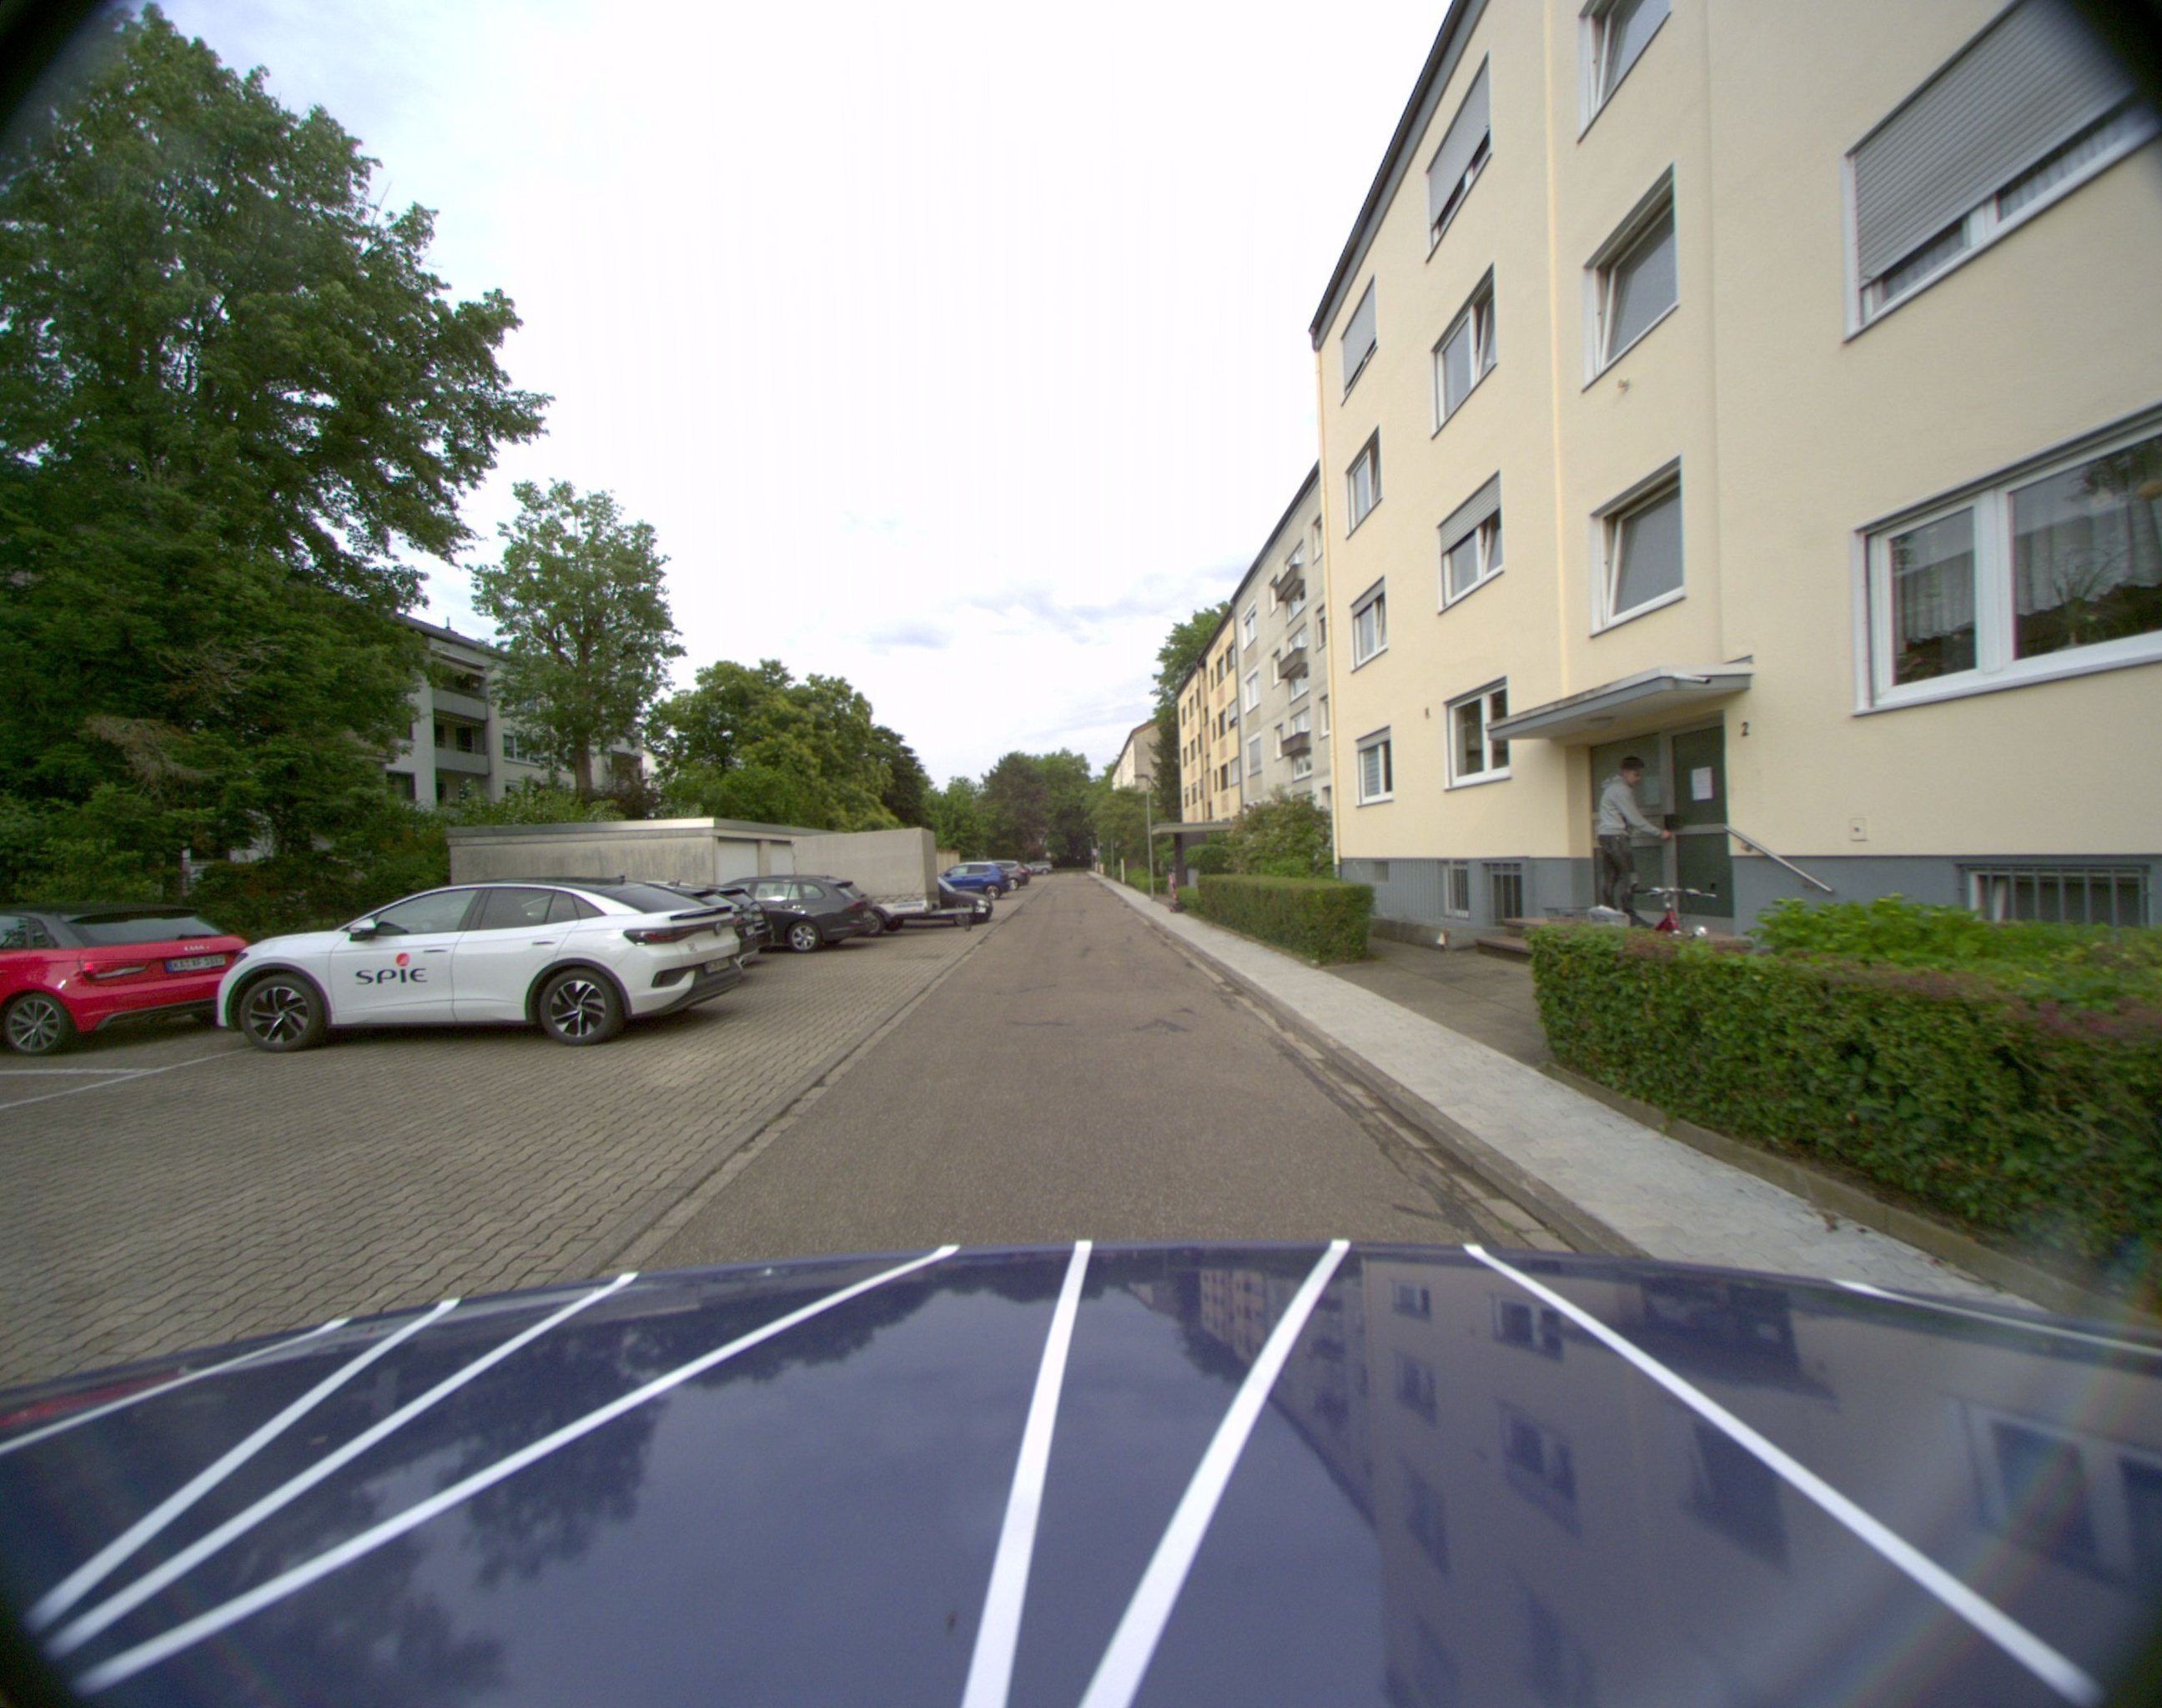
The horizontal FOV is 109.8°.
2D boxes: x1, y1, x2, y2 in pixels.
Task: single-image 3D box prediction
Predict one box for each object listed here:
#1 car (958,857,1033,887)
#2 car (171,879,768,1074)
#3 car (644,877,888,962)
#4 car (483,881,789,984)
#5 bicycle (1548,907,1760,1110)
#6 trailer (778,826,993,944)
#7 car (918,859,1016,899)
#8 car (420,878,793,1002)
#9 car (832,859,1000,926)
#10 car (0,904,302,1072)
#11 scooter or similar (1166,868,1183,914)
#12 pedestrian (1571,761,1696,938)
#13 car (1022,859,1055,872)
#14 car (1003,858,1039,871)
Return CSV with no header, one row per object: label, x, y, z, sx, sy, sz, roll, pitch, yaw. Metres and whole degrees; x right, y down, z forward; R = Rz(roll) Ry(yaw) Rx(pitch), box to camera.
car,-4.967,1.072,44.776,4.206,1.717,2.000,0,0,-1
car,-5.949,1.149,7.860,4.548,1.579,1.988,-2,0,1
car,-6.135,1.255,15.117,4.138,1.440,1.612,-2,0,-1
car,-7.316,1.265,12.806,4.005,1.440,1.915,-2,0,2
bicycle,3.769,0.949,5.130,0.319,1.069,1.418,-3,1,0
trailer,-4.601,0.715,18.441,4.621,2.510,1.942,-2,0,0
car,-4.936,1.066,33.262,3.997,1.693,2.000,0,0,-1
car,-6.445,1.128,10.701,3.997,1.543,2.000,0,0,1
car,-4.523,1.041,21.358,4.322,1.791,2.000,0,0,-1
car,-11.030,1.326,7.826,3.908,1.372,1.971,-2,0,-1
scooter or similar,2.553,0.997,20.805,0.273,1.203,1.164,-2,0,-1
pedestrian,5.766,-0.041,7.963,0.681,1.739,0.756,-3,0,-2
car,-5.298,1.459,96.002,4.104,1.636,1.787,-1,0,-2
car,-7.157,1.234,90.847,4.104,1.476,1.787,-1,0,-2
